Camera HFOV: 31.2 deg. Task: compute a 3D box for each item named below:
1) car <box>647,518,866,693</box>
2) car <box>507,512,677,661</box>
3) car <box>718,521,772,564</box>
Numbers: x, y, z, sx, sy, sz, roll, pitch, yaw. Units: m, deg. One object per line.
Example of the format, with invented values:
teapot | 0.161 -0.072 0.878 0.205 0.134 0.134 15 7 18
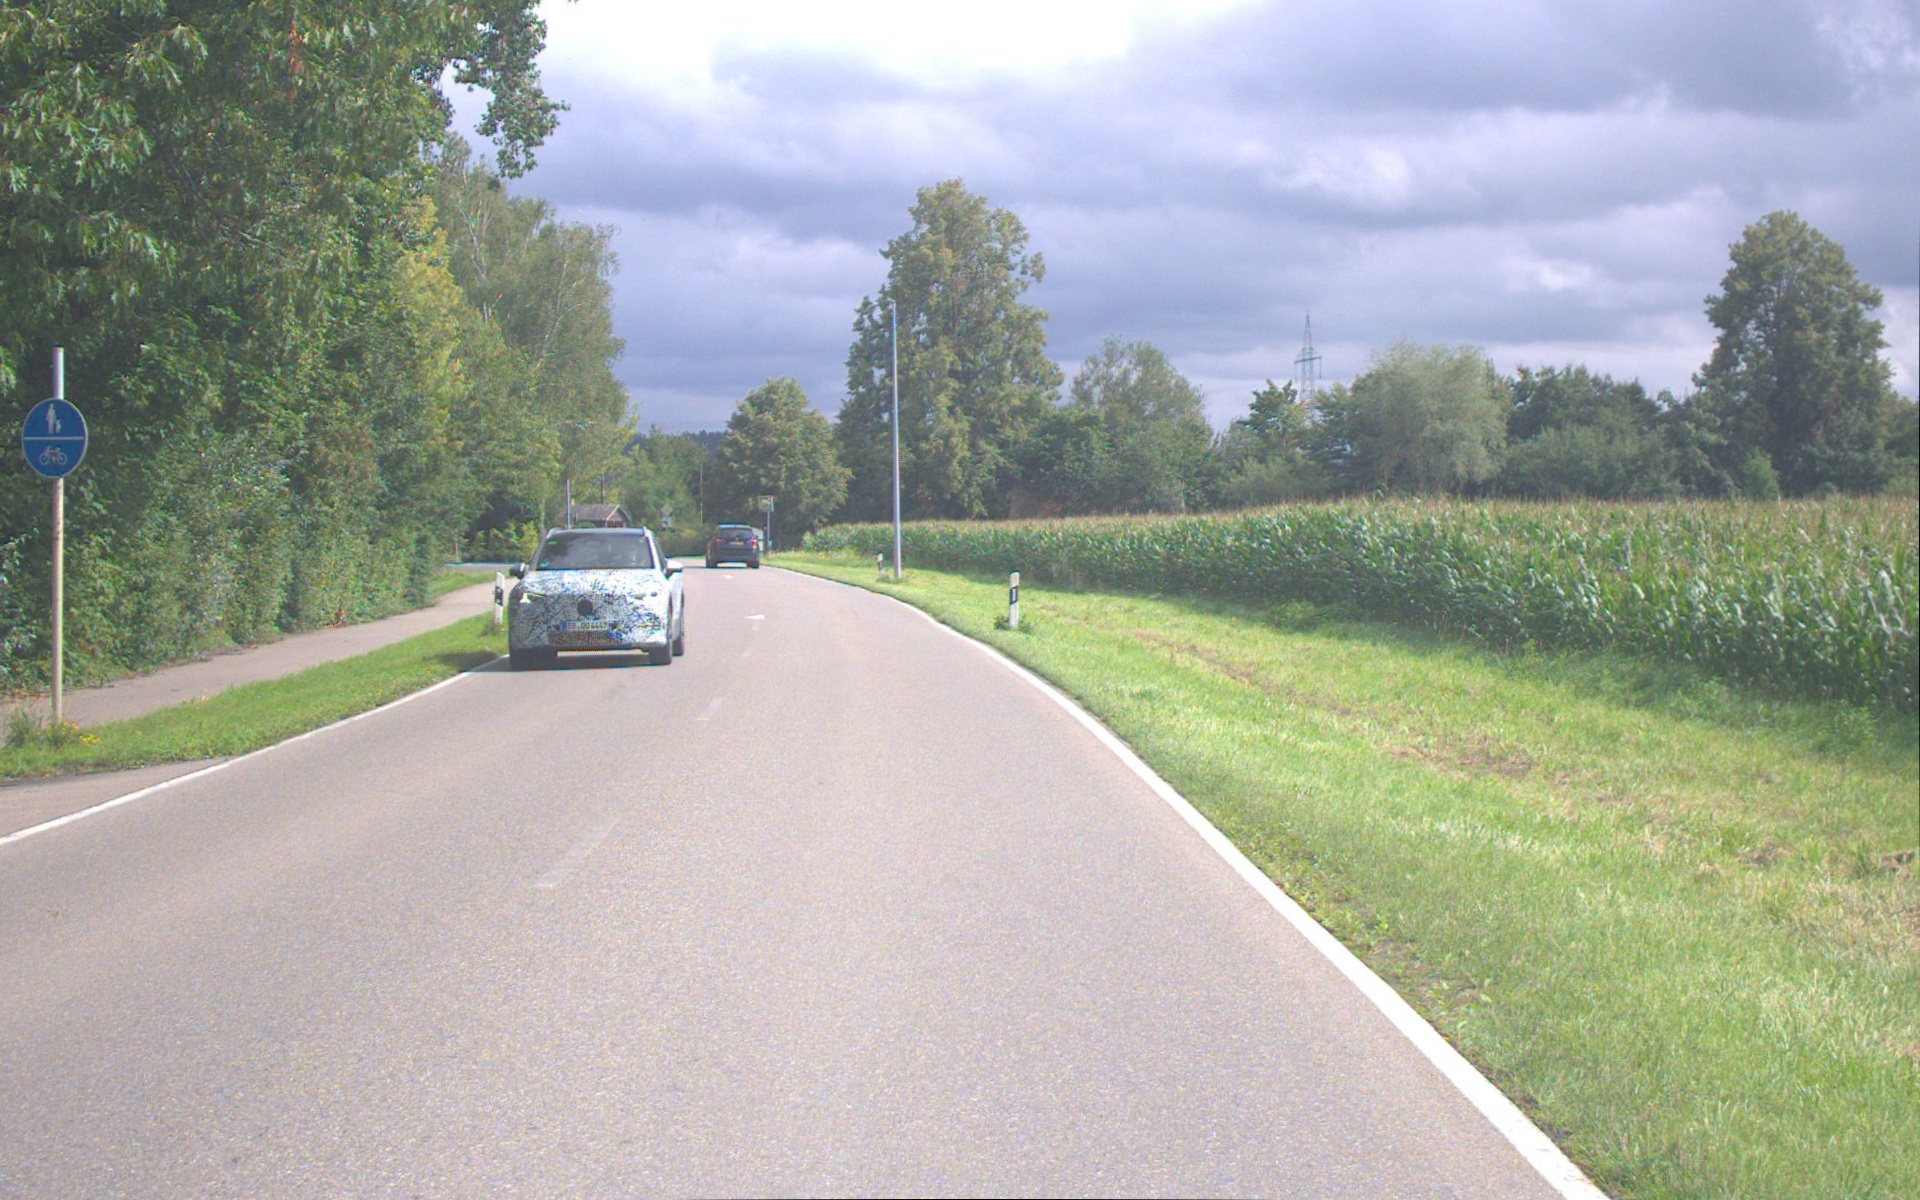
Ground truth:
car | -2.565 0.038 42.440 1.993 2.007 4.001 2 0 -13
car | -4.381 -0.204 41.446 1.811 1.645 4.293 -2 1 -4
car | -8.315 -2.222 132.980 1.993 1.579 4.001 2 0 -4
